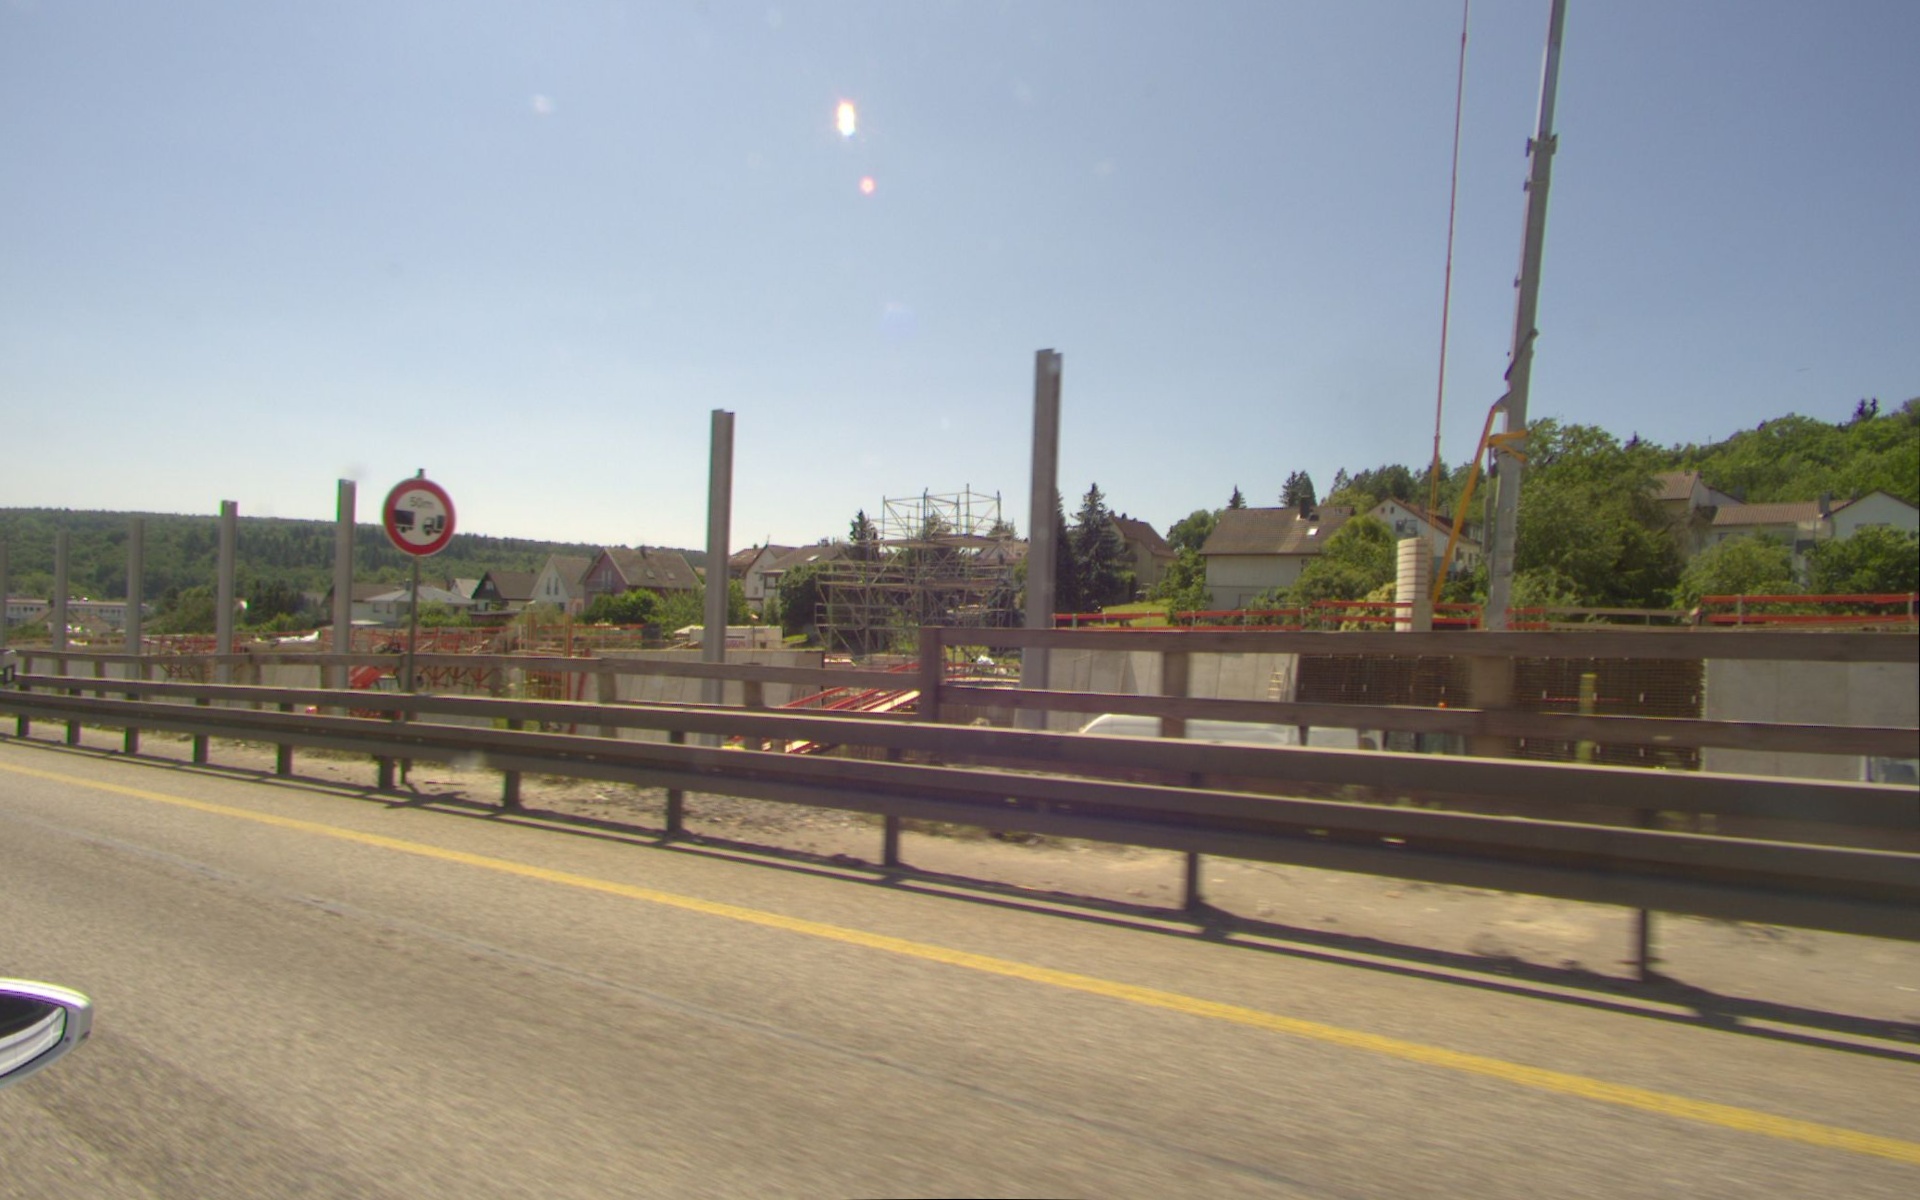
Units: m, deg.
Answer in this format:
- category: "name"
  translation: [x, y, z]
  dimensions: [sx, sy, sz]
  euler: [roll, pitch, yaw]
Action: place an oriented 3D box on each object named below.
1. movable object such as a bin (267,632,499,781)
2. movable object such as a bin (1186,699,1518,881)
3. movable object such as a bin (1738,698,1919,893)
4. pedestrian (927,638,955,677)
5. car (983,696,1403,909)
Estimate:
- category: "movable object such as a bin"
  translation: [-20.993, 3.648, 36.194]
  dimensions: [9.519, 4.803, 3.222]
  euler: [-2, -2, 32]
- category: "movable object such as a bin"
  translation: [7.251, 3.353, 18.871]
  dimensions: [5.430, 2.710, 2.138]
  euler: [-3, -2, 37]
- category: "movable object such as a bin"
  translation: [17.567, 3.720, 18.261]
  dimensions: [7.080, 2.931, 3.476]
  euler: [12, -9, -35]
- category: "pedestrian"
  translation: [-1.003, 3.052, 53.267]
  dimensions: [0.960, 2.012, 1.134]
  euler: [-2, -2, 36]
- category: "car"
  translation: [3.878, 3.277, 17.737]
  dimensions: [6.932, 2.892, 2.138]
  euler: [-3, -2, 36]
